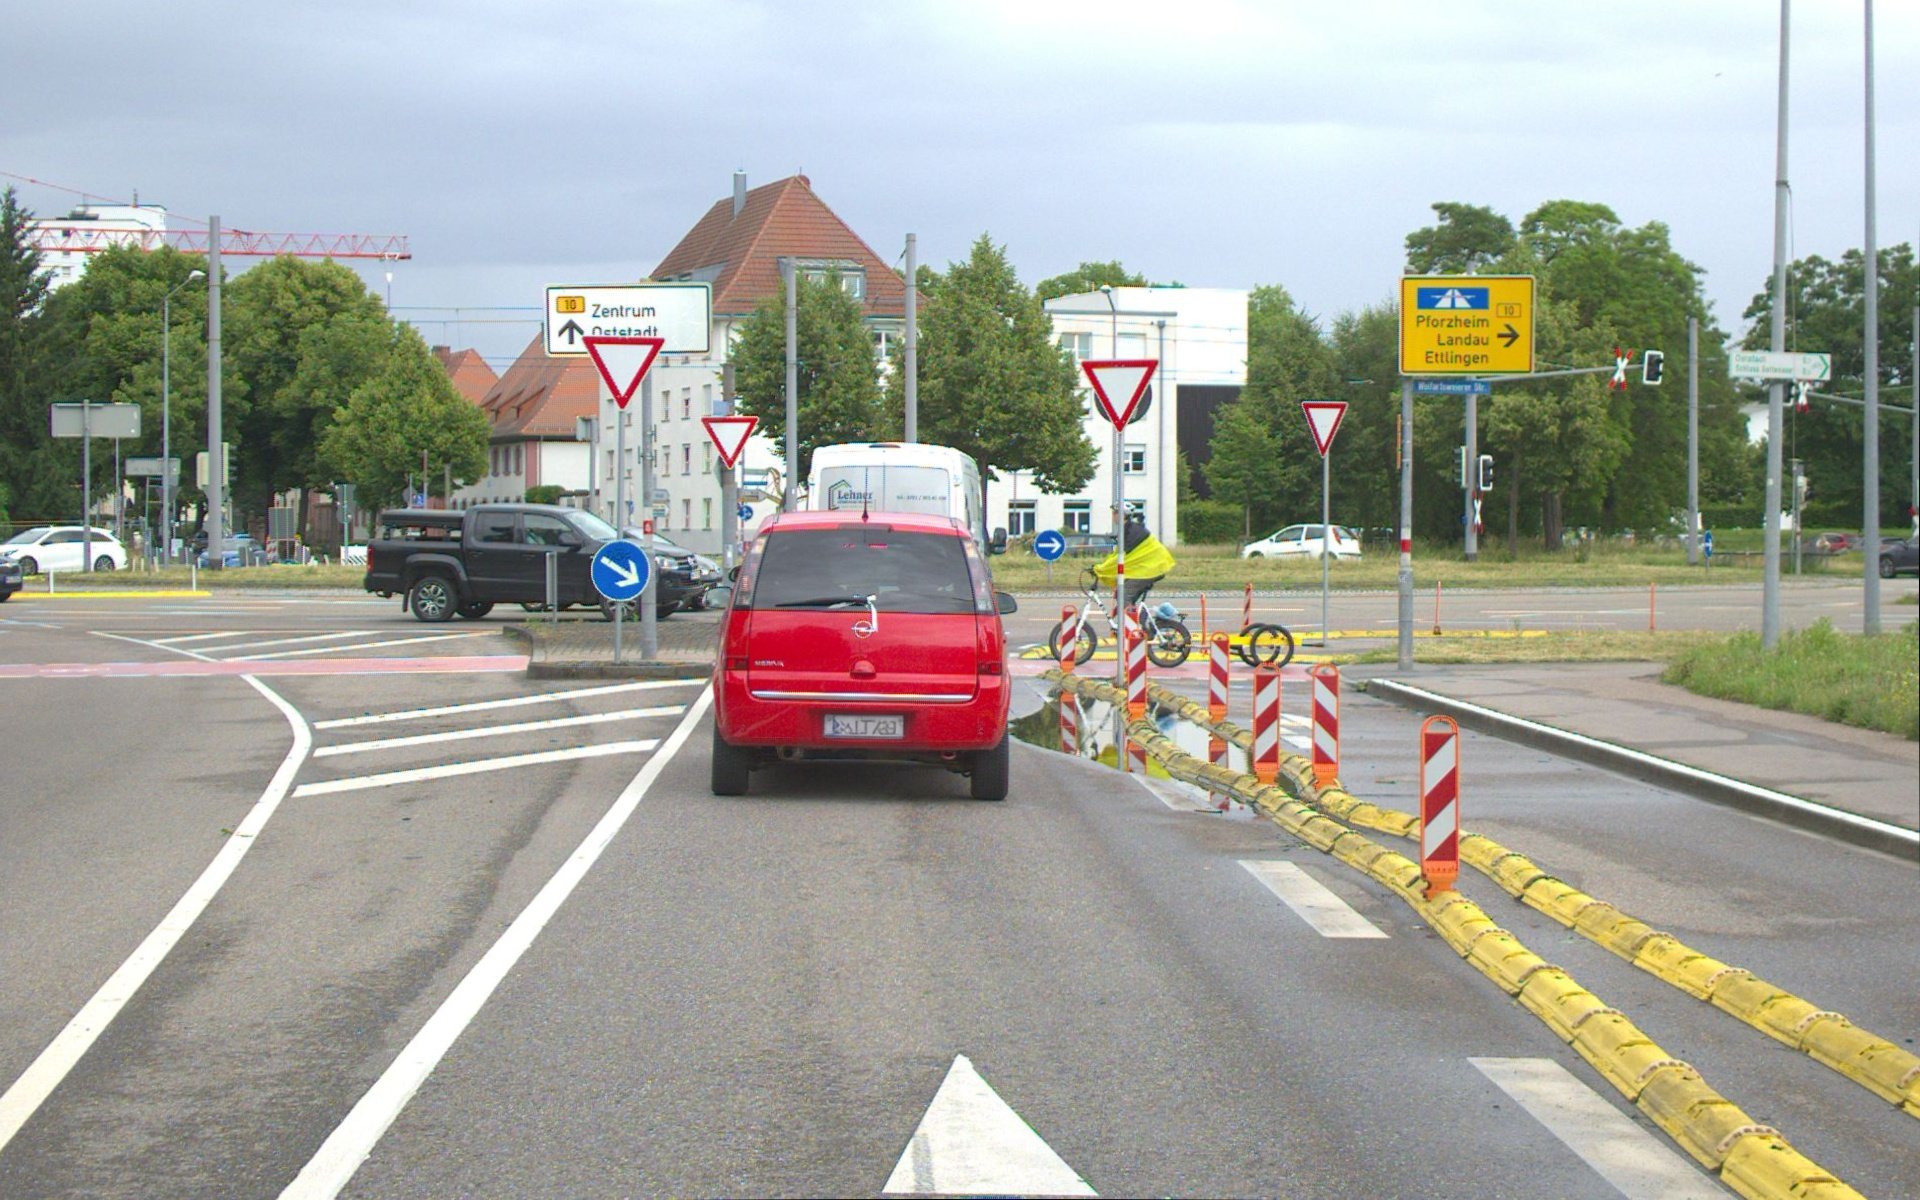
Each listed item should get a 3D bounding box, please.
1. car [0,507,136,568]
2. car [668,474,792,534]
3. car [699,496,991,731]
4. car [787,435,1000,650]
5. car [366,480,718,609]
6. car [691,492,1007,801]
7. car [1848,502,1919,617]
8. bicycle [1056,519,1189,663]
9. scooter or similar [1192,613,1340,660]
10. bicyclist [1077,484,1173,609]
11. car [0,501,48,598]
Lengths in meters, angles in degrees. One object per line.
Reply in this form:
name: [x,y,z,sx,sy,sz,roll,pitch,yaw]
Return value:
car: [-25.286,-1.739,95.143,1.998,1.629,4.666,1,2,35]
car: [-8.121,-3.383,121.455,3.988,1.843,1.999,-3,-2,7]
car: [-0.883,0.044,26.961,2.059,1.642,4.608,1,1,-1]
car: [-0.779,-0.744,43.858,2.195,2.531,4.962,1,1,4]
car: [-6.514,-0.879,53.838,5.028,1.965,2.223,0,1,11]
car: [-0.645,0.211,20.374,1.673,1.635,3.628,1,1,-1]
car: [15.967,-0.634,52.933,4.362,1.744,1.999,0,1,12]
bicycle: [1.828,-0.108,38.816,1.477,1.606,0.606,0,1,1]
scooter or similar: [3.443,0.405,38.774,1.607,0.502,0.924,0,1,2]
bicyclist: [1.858,-0.605,38.798,1.061,1.396,0.615,0,1,1]
car: [-19.744,-0.965,65.286,4.196,1.807,2.077,0,1,9]
